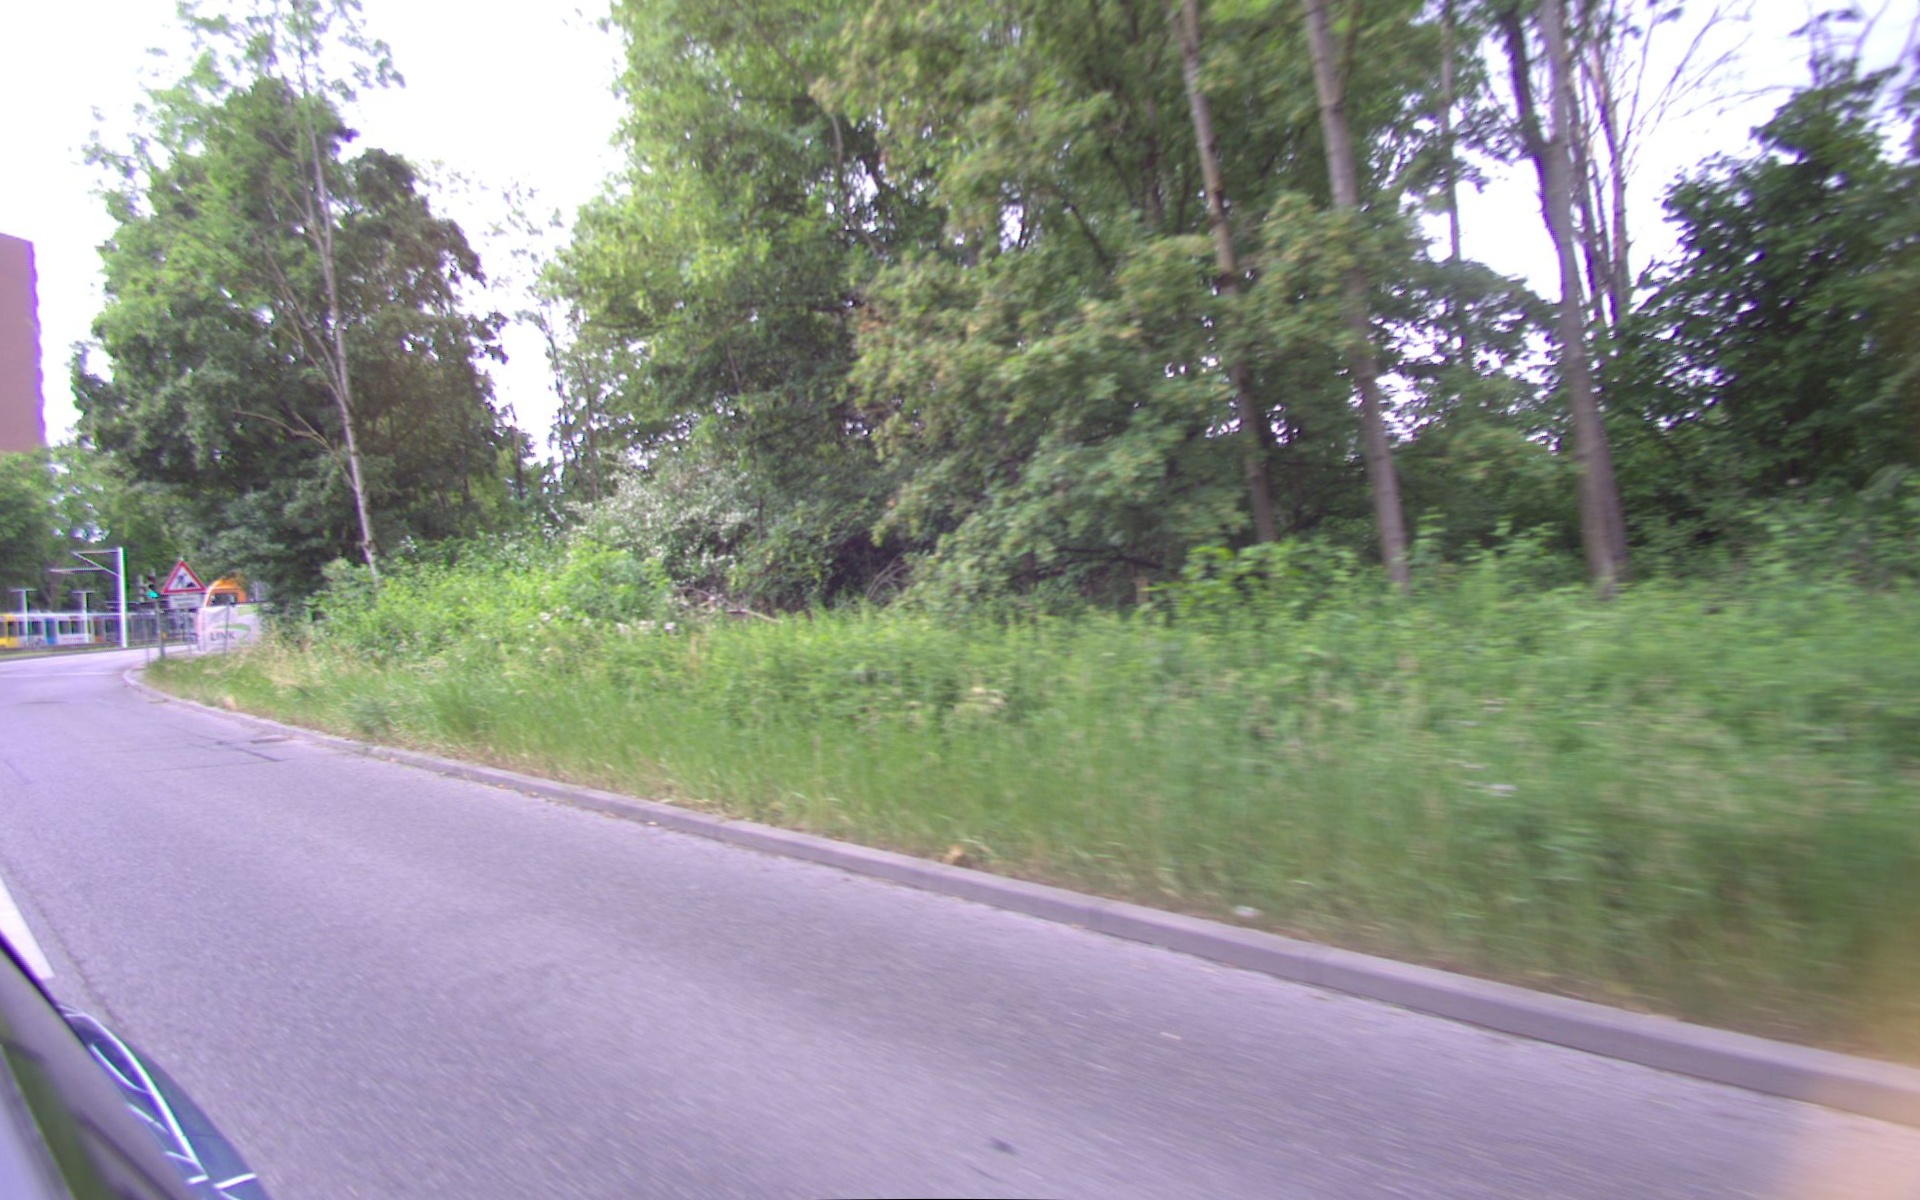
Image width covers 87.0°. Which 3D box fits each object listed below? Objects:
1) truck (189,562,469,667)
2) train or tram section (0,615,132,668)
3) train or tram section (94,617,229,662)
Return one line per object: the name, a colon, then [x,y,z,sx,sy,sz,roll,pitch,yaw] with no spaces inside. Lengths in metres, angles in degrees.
truck: [-24.849,0.453,40.307,9.110,3.557,2.571,-3,1,-36]
train or tram section: [-73.670,3.267,81.920,2.775,3.827,18.987,-4,0,-16]
train or tram section: [-78.484,3.695,100.256,2.776,3.764,18.580,-4,0,-14]
